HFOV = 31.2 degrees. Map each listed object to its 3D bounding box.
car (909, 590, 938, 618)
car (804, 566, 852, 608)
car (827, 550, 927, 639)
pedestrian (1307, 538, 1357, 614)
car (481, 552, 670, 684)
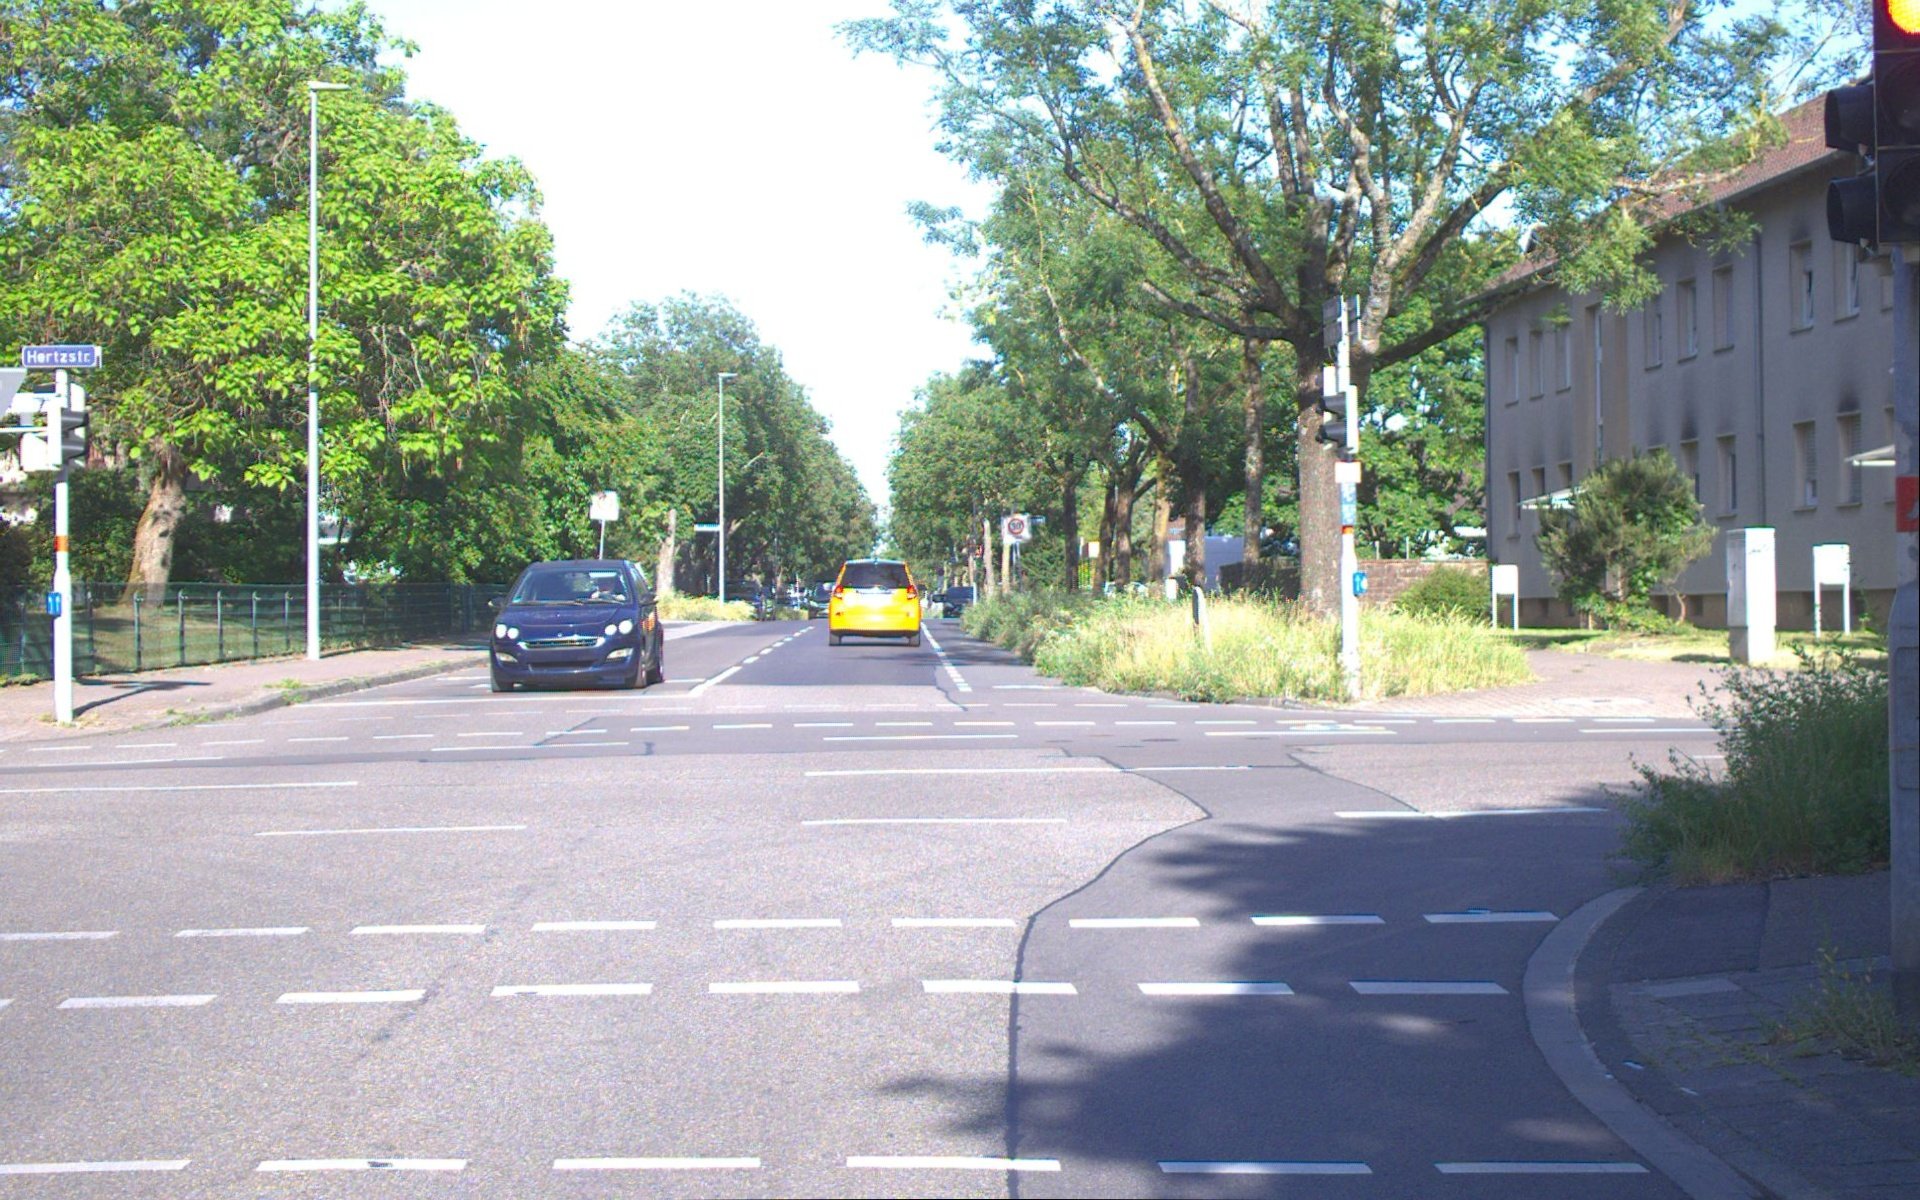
[{"bbox_3d":[-2.317,0.258,219.244,1.773,1.748,4.000,1,0,0],"label":"car"},{"bbox_3d":[-5.246,-0.520,137.049,1.758,1.619,3.268,0,1,0],"label":"car"},{"bbox_3d":[-1.506,-0.118,63.449,1.751,1.577,4.000,1,0,0],"label":"car"},{"bbox_3d":[7.434,-0.482,68.749,0.842,1.488,0.924,2,1,-1],"label":"pedestrian"},{"bbox_3d":[-4.271,0.173,38.619,1.711,1.381,3.471,0,1,0],"label":"car"}]
